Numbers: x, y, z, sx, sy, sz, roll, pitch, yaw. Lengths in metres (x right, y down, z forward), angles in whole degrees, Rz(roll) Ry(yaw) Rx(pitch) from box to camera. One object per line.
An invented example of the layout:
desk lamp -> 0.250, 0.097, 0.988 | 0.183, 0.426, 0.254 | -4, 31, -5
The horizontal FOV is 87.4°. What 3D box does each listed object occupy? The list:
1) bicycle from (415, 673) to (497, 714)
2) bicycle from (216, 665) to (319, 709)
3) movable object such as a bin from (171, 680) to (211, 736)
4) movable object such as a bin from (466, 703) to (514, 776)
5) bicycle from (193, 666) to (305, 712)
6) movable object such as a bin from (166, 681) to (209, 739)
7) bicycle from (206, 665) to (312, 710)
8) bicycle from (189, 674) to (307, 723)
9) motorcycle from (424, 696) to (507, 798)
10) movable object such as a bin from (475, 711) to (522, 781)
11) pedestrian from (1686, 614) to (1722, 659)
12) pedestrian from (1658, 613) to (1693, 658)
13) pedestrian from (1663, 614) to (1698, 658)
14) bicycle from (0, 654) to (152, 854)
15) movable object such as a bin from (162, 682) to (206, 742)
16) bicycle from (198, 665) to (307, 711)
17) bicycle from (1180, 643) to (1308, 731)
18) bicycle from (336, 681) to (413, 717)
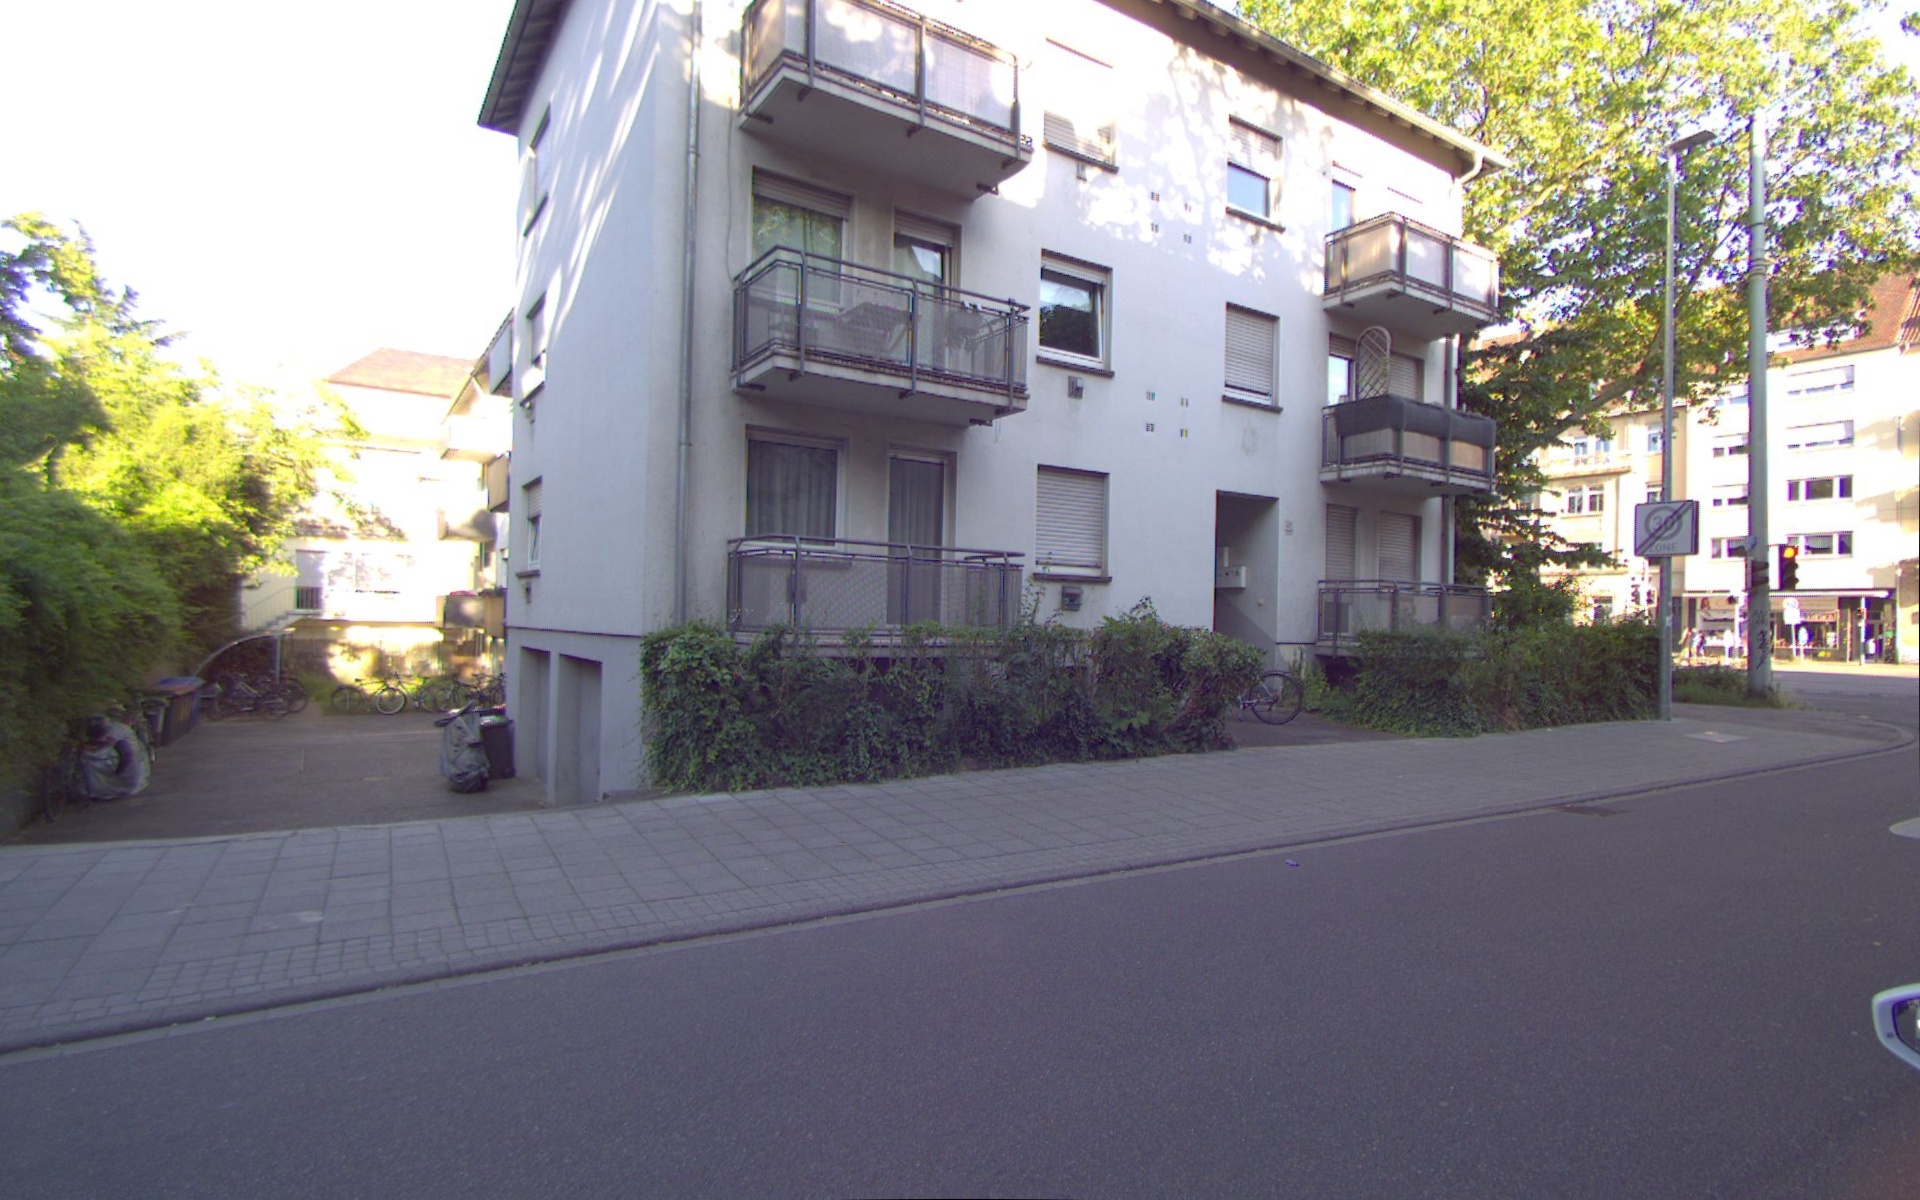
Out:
bicycle -> -13.908, 2.573, 27.744 | 1.982, 1.085, 0.561 | 2, -4, -30
bicycle -> -19.639, 2.451, 28.539 | 2.311, 1.192, 0.689 | 2, -4, -30
movable object such as a bin -> -16.359, 2.287, 21.385 | 0.606, 1.129, 0.795 | 1, -3, -33
movable object such as a bin -> -7.912, 2.328, 16.901 | 0.606, 1.129, 0.795 | 1, -3, -33
bicycle -> -18.596, 2.325, 26.344 | 2.311, 1.148, 0.689 | 2, -4, -30
movable object such as a bin -> -15.926, 2.258, 20.723 | 0.606, 1.129, 0.795 | 1, -3, -33
bicycle -> -19.369, 2.394, 27.815 | 2.311, 1.192, 0.689 | 2, -4, -30
bicycle -> -17.332, 2.382, 24.525 | 2.268, 1.148, 0.689 | 2, -4, -30
motorcycle -> -7.400, 2.152, 15.007 | 0.739, 1.313, 1.563 | 2, -2, -41
movable object such as a bin -> -7.397, 2.327, 16.089 | 0.606, 1.051, 0.534 | 1, -3, -34
pedestrian -> 42.236, 2.071, 57.011 | 1.049, 2.497, 1.338 | 1, 0, -34
pedestrian -> 40.859, 2.015, 57.365 | 1.049, 2.497, 1.338 | 1, 0, -34
pedestrian -> 42.121, 2.074, 58.733 | 1.049, 2.497, 1.338 | 1, 0, -34
bicycle -> -10.597, 1.656, 11.978 | 0.961, 1.917, 4.156 | 1, -2, -32
movable object such as a bin -> -15.485, 2.225, 20.053 | 0.606, 1.129, 0.795 | 1, -3, -33
bicycle -> -19.022, 2.347, 27.090 | 2.311, 1.192, 0.689 | 2, -4, -30
bicycle -> 3.833, 1.151, 13.571 | 1.590, 1.022, 0.517 | 3, 1, 20
bicycle -> -15.562, 2.625, 26.744 | 1.734, 0.890, 0.561 | 2, -4, -30
